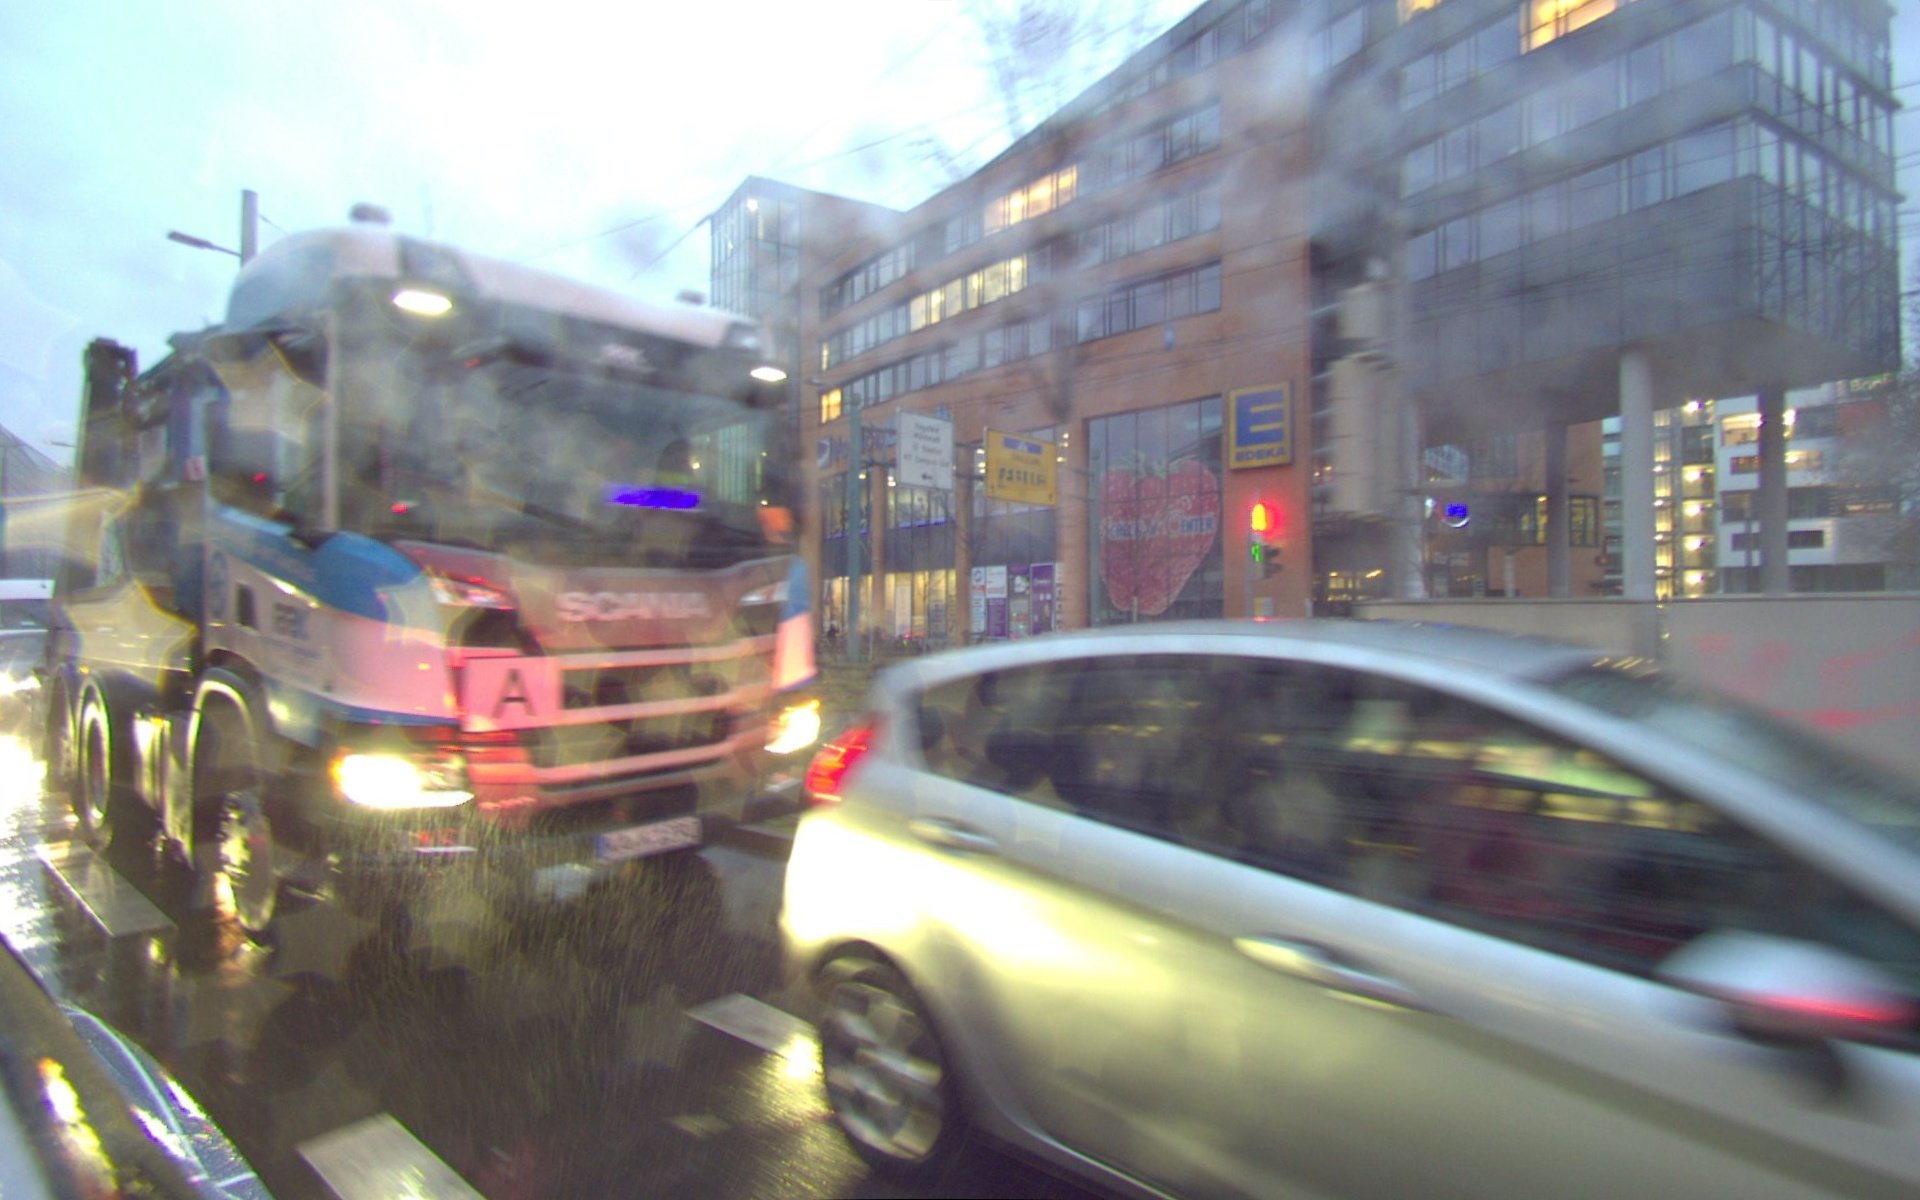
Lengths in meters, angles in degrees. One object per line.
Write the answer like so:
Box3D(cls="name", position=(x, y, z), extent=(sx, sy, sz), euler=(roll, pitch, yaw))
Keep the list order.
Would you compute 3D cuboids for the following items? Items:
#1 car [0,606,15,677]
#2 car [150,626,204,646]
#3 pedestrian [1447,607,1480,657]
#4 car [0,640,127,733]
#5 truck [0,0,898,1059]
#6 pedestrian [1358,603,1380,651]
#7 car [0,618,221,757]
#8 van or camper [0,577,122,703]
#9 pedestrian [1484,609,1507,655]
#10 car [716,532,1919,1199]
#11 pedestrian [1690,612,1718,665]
Box3D(cls="car", position=(-41.710, 1.734, 42.128), extent=(5.796, 2.885, 2.107), euler=(-1, -2, 33))
Box3D(cls="car", position=(-65.747, 3.014, 84.964), extent=(3.868, 1.430, 1.782), euler=(1, 1, 19))
Box3D(cls="pedestrian", position=(18.144, 1.156, 36.462), extent=(0.782, 1.766, 0.704), euler=(0, -2, -1))
Box3D(cls="car", position=(-15.665, 1.391, 17.269), extent=(4.057, 1.355, 1.736), euler=(-2, -2, 43))
Box3D(cls="truck", position=(-4.100, -0.206, 6.930), extent=(7.521, 3.661, 2.810), euler=(-1, -2, 40))
Box3D(cls="pedestrian", position=(15.333, 1.012, 37.969), extent=(0.658, 1.766, 0.534), euler=(0, -2, 12))
Box3D(cls="car", position=(-11.106, 1.073, 13.102), extent=(3.939, 1.535, 1.613), euler=(-3, -3, 40))
Box3D(cls="van or camper", position=(-21.151, 0.877, 23.049), extent=(5.894, 2.551, 2.126), euler=(-2, -2, 40))
Box3D(cls="pedestrian", position=(20.839, 1.249, 39.385), extent=(0.703, 1.766, 0.564), euler=(-1, -2, 39))
Box3D(cls="car", position=(1.365, 0.681, 2.240), extent=(3.998, 1.459, 1.687), euler=(-1, -3, 41))
Box3D(cls="pedestrian", position=(25.197, 1.307, 34.278), extent=(0.564, 1.787, 0.638), euler=(2, -3, -43))
